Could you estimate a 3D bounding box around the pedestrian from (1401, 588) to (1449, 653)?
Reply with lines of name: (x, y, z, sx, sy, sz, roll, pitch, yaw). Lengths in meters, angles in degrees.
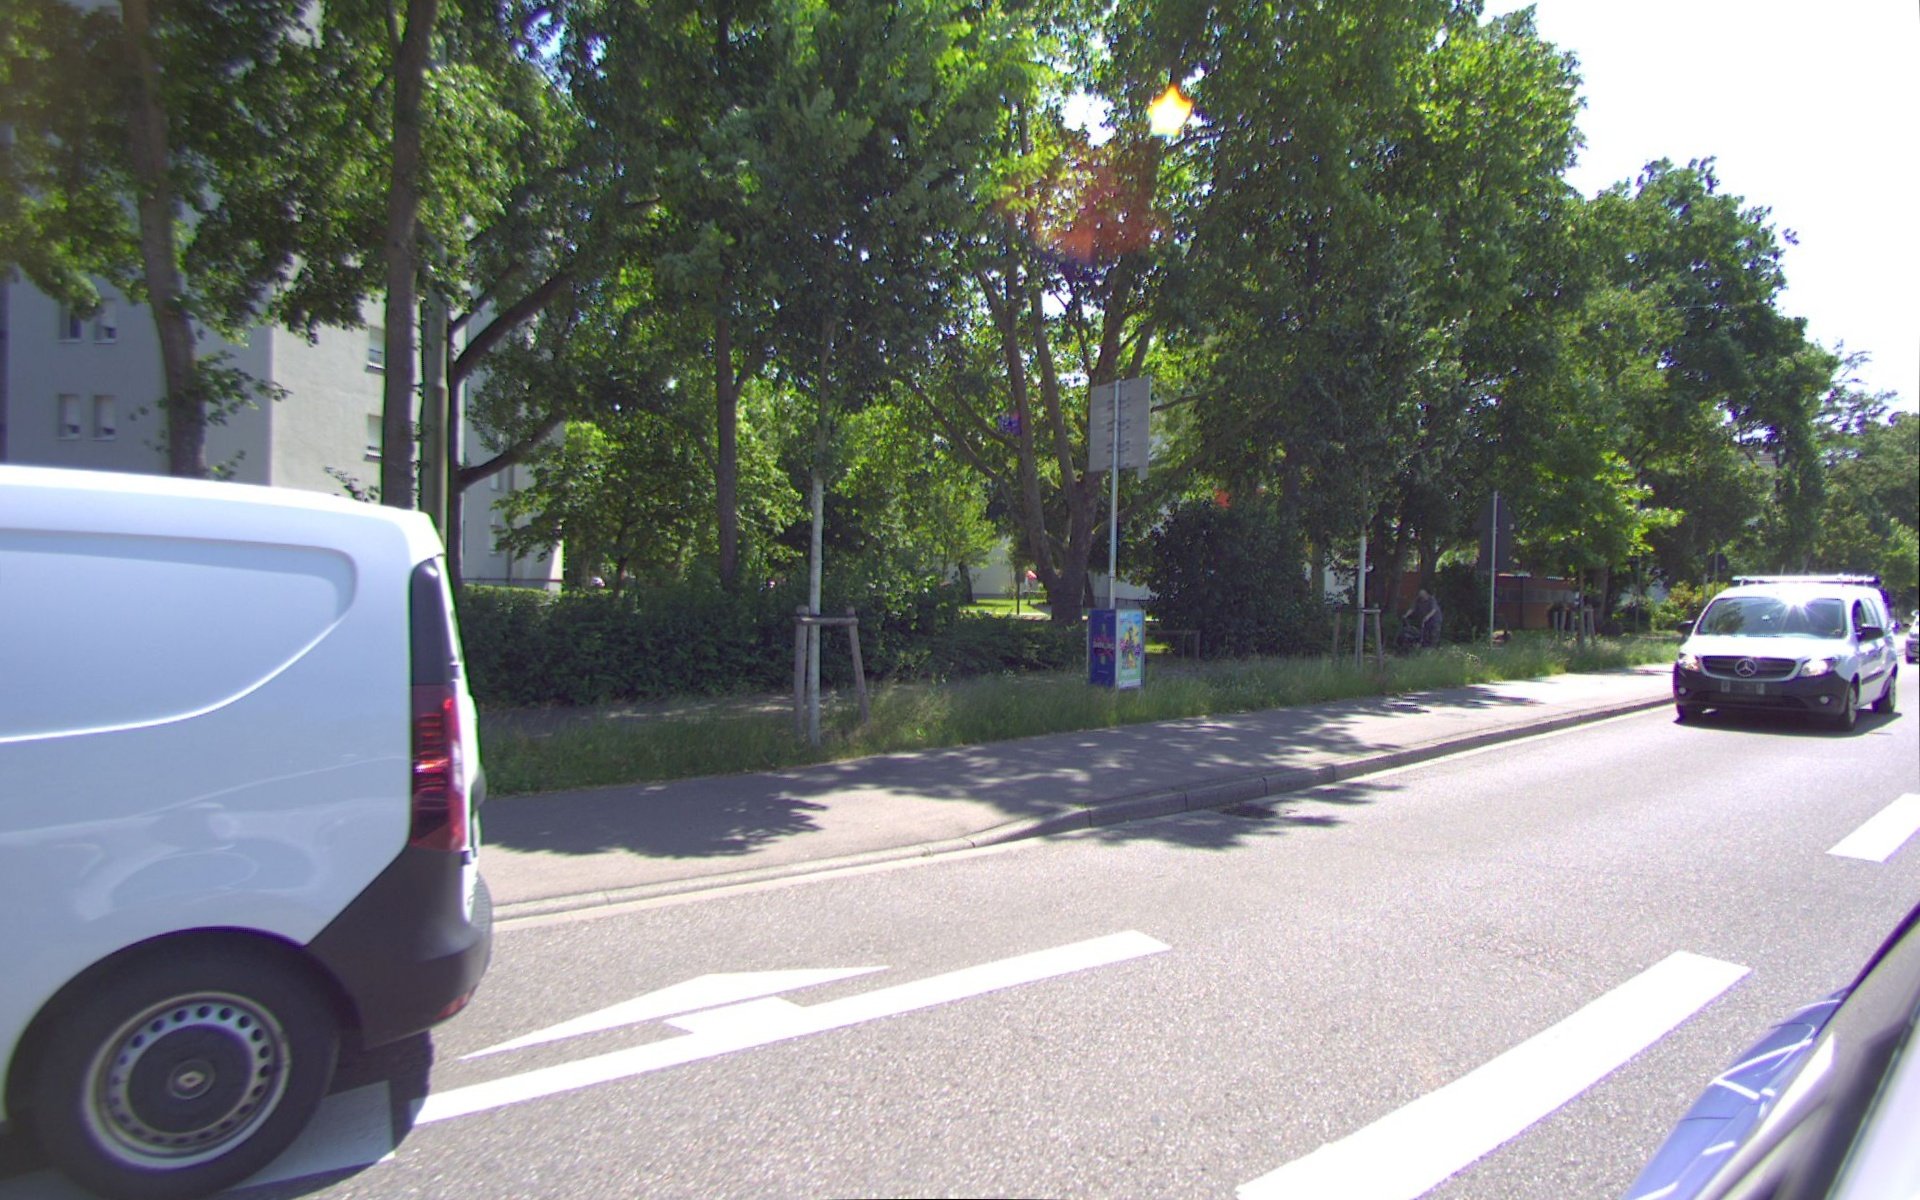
pedestrian: (10.393, 0.442, 22.630, 0.749, 1.416, 0.709, 1, -1, -39)

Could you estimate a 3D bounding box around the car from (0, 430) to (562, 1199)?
car: (-3.419, 0.502, 2.448, 4.340, 1.769, 1.716, 0, 0, -32)

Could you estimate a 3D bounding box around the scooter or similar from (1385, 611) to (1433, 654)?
scooter or similar: (9.831, 0.694, 22.151, 0.749, 0.904, 0.709, 1, -1, -39)

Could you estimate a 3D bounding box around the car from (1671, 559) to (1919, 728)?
car: (11.337, 0.492, 13.571, 4.993, 1.879, 1.808, 0, 0, -41)
